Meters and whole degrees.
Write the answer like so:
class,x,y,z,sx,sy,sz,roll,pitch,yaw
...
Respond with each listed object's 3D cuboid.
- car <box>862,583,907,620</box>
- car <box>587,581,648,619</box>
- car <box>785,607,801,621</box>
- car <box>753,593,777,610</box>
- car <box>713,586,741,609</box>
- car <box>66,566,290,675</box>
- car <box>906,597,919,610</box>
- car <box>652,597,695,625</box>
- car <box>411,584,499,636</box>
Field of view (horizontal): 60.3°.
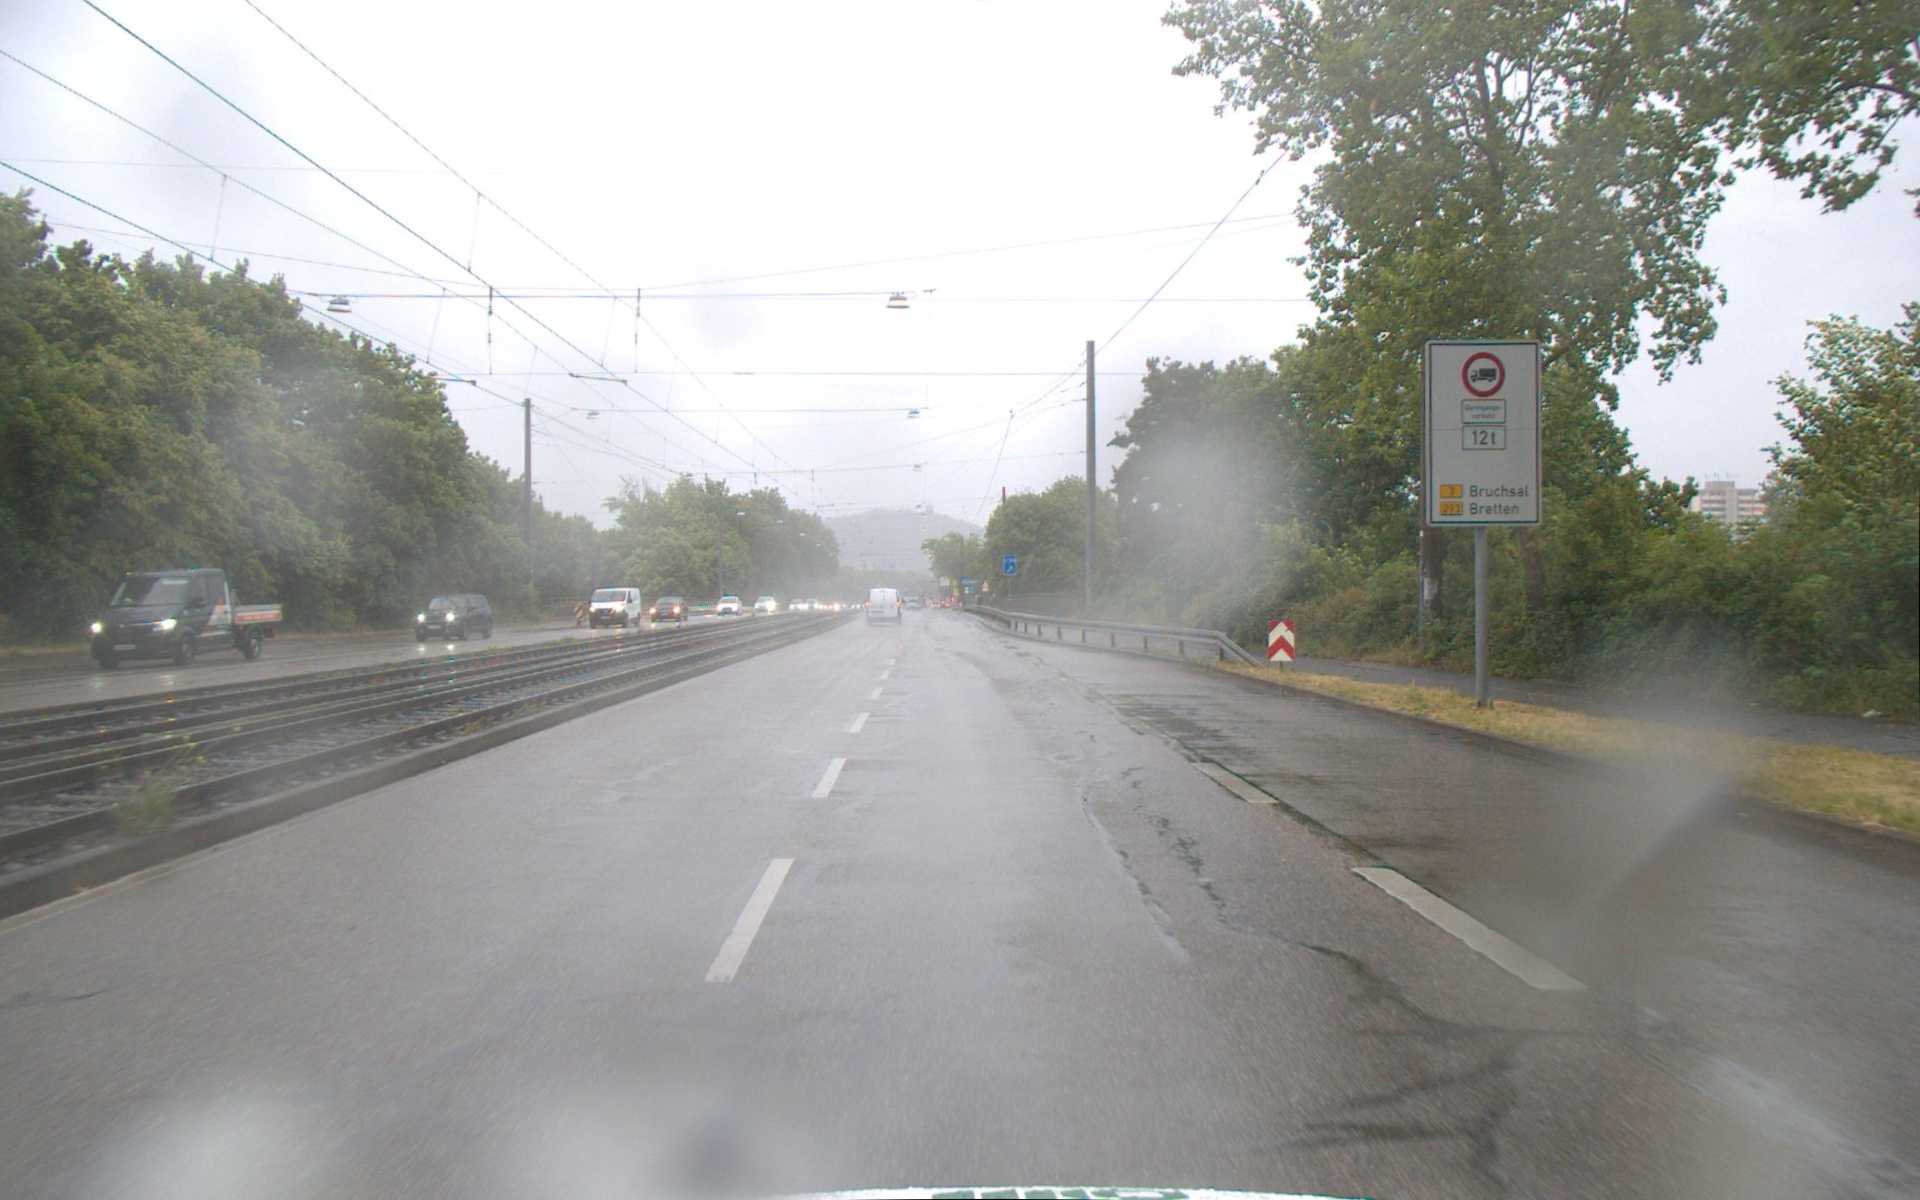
class,x,y,z,sx,sy,sz,roll,pitch,yaw
car,-3.682,0.052,80.976,1.948,1.713,3.740,1,1,0
car,-17.359,-0.033,84.094,1.998,1.806,4.986,1,1,1
car,-20.213,1.714,200.245,1.708,1.534,3.699,1,1,-2
car,-18.565,0.121,157.395,1.761,1.478,4.194,1,1,-1
car,-18.350,-0.198,130.558,1.719,1.741,3.999,1,1,-2
car,-18.868,0.382,40.412,2.056,2.383,6.991,1,1,1
car,-6.365,0.472,221.081,1.708,1.534,3.699,1,1,-2
car,-17.406,0.654,100.813,1.654,1.545,4.613,1,1,2
car,-18.396,0.347,60.400,1.803,1.746,4.164,1,1,2
